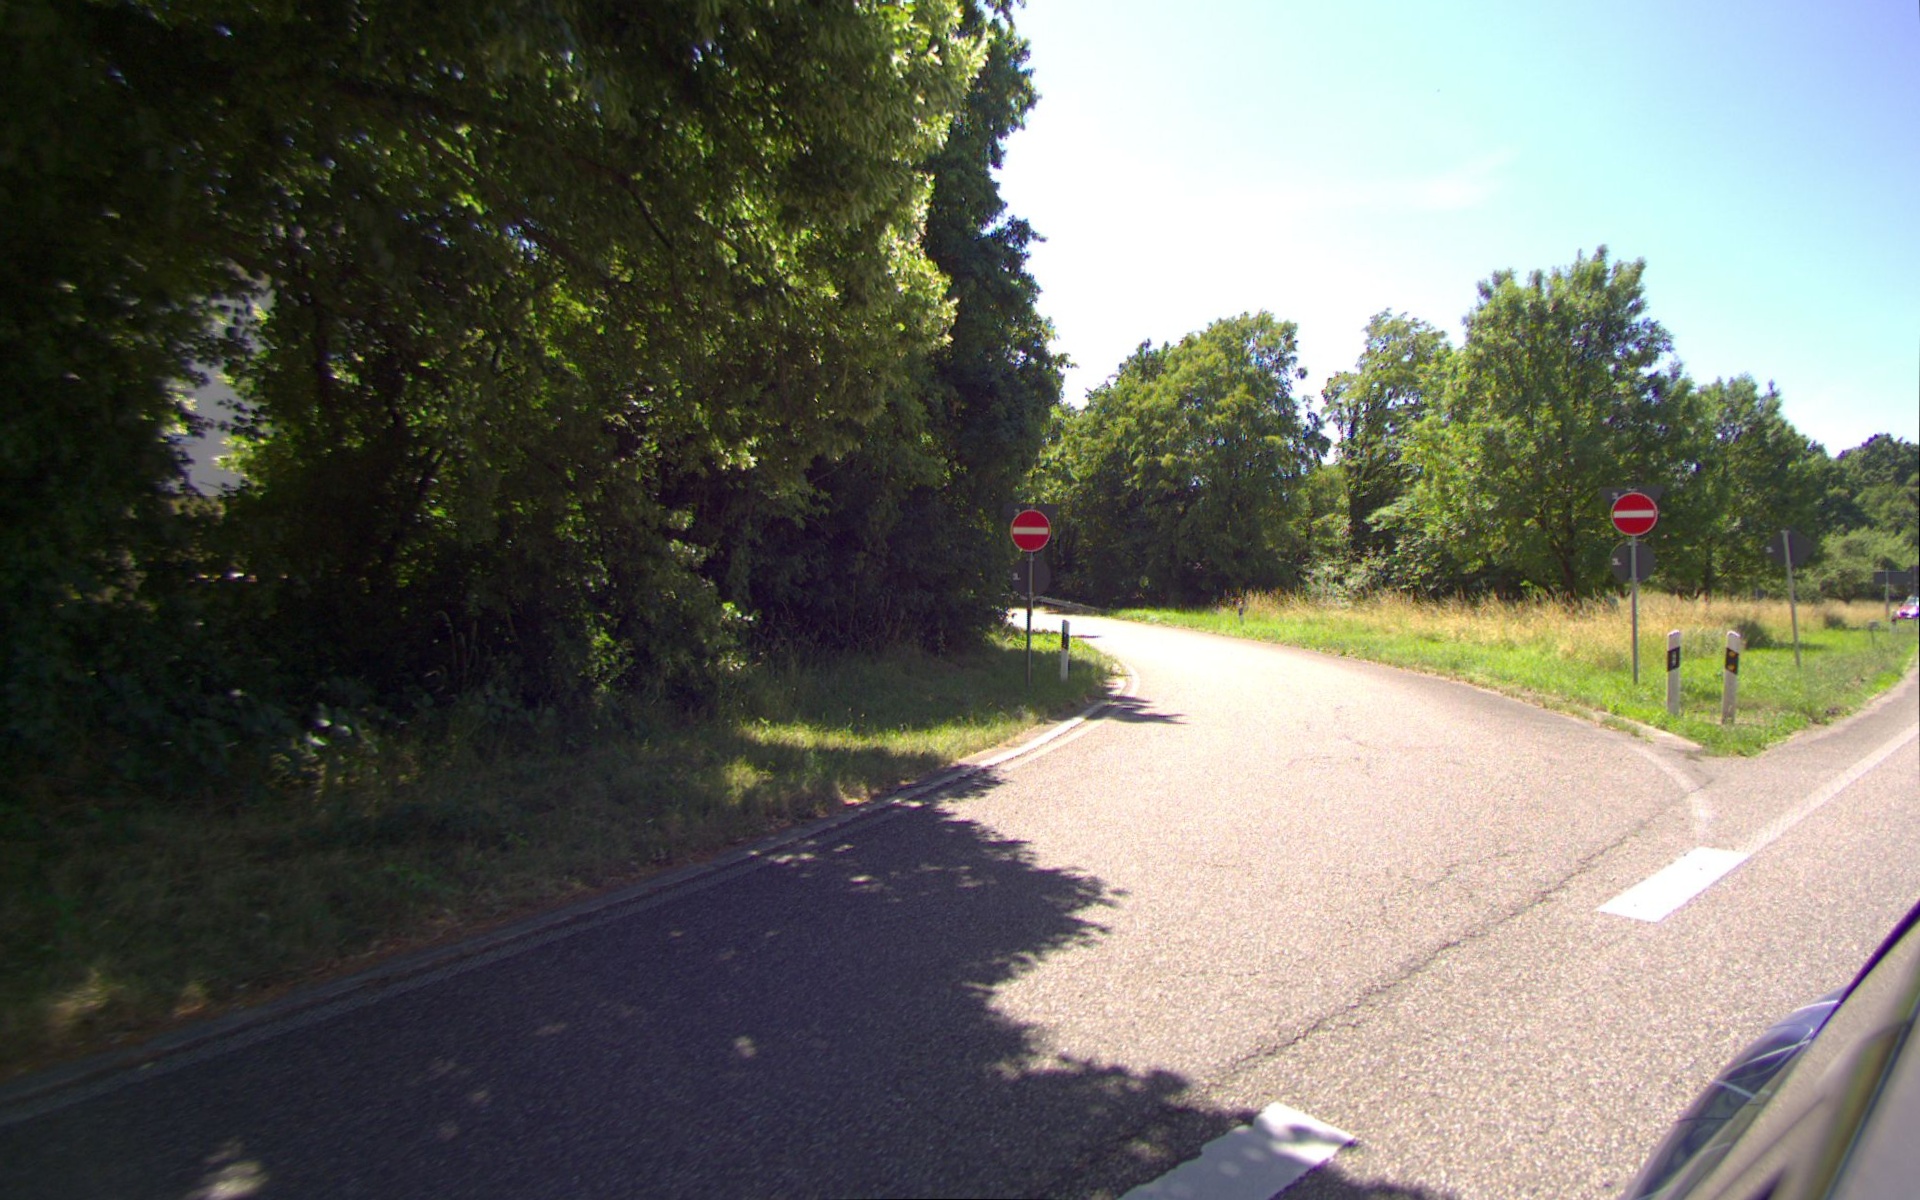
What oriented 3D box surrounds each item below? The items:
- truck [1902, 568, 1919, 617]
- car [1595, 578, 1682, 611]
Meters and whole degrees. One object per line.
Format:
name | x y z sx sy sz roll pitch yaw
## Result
truck | 62.323 -0.483 62.895 6.827 2.980 2.465 0 1 -17
car | 41.165 -0.330 61.462 3.931 1.866 1.745 2 1 7
